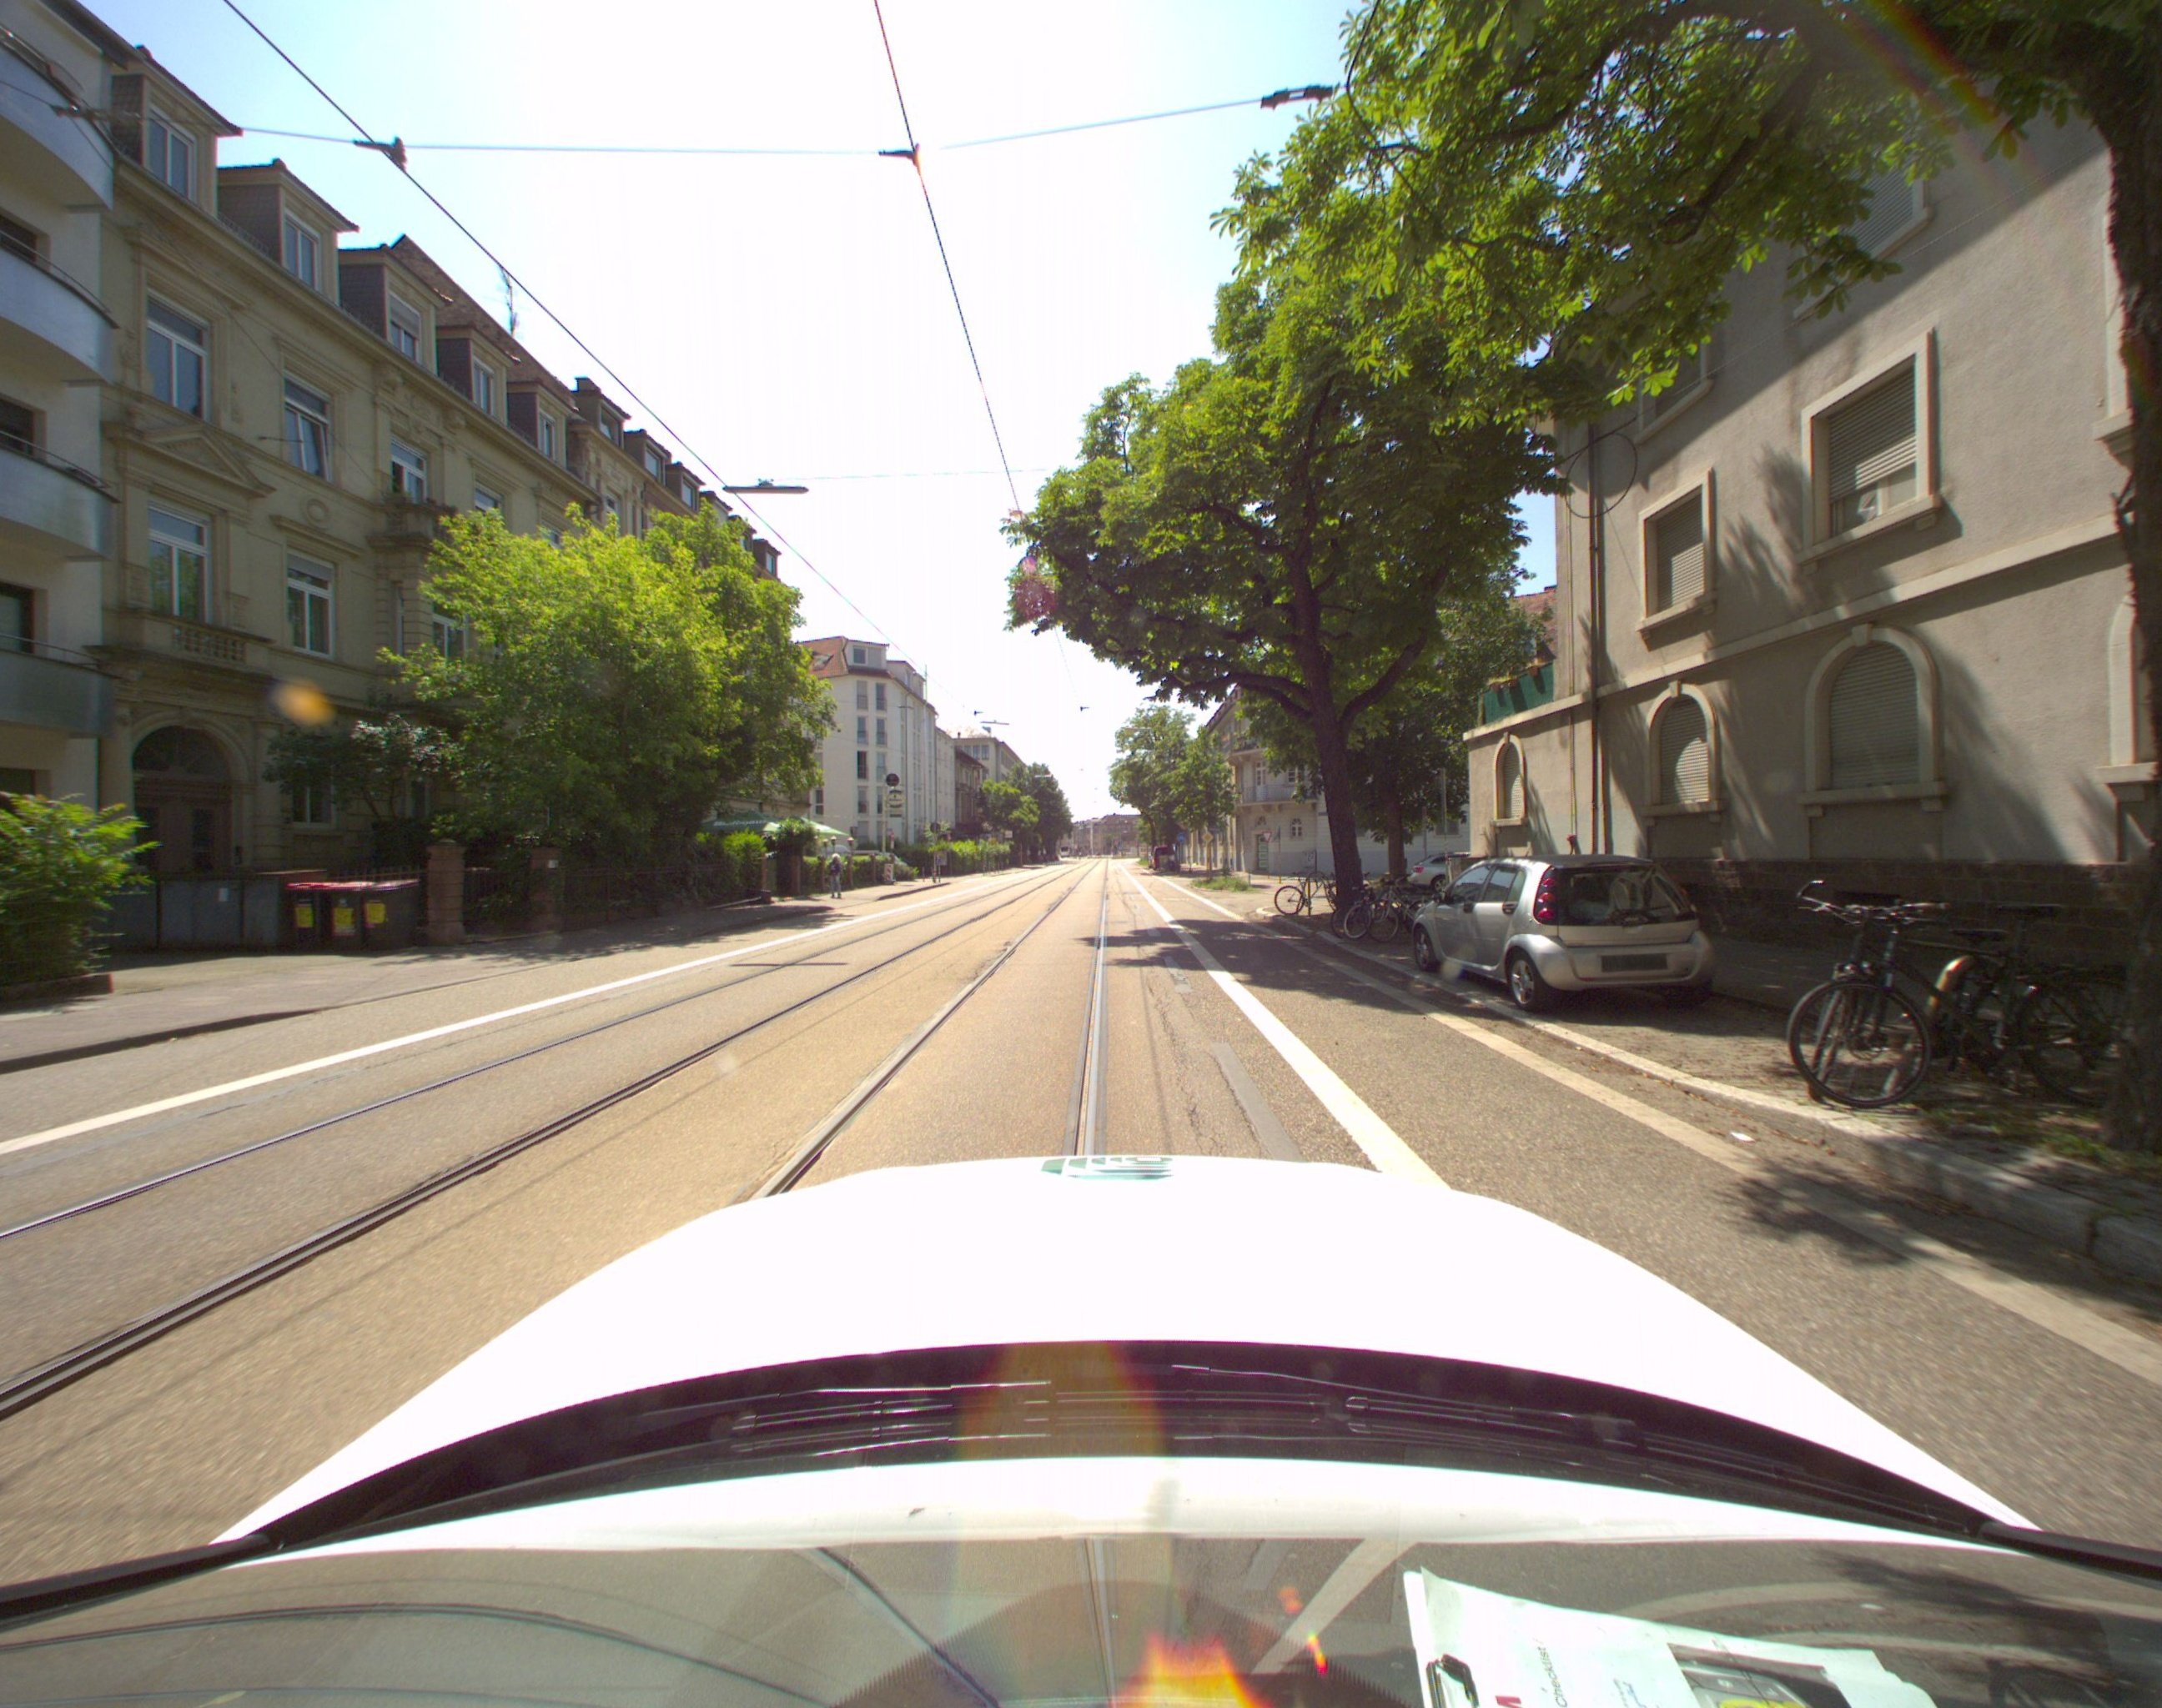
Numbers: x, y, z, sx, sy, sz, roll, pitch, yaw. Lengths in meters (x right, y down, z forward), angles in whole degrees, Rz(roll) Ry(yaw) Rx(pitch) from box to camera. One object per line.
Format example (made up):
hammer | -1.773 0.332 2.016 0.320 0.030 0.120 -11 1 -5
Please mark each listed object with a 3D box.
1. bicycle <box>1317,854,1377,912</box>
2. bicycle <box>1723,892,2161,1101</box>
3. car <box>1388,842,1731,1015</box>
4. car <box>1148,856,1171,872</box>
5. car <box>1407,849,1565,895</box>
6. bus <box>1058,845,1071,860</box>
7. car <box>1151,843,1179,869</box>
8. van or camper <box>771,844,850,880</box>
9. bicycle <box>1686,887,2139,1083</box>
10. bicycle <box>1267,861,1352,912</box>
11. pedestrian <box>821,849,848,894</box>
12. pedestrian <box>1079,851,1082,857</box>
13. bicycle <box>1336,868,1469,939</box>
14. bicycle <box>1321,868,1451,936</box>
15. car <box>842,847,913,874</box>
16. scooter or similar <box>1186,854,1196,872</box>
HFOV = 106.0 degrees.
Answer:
bicycle | 6.001 0.639 18.510 0.579 1.231 2.004 -1 -1 -3
bicycle | 4.803 0.751 4.554 1.879 1.052 0.539 -1 -1 8
car | 4.961 0.680 9.128 1.616 1.448 3.811 -3 -1 2
car | 7.231 0.897 75.398 1.778 1.473 3.773 0 0 1
car | 13.627 0.583 27.514 4.637 1.437 1.749 0 0 29
bus | -4.466 -0.347 226.291 2.920 3.937 11.278 1 -1 2
car | 7.006 0.143 67.927 1.986 2.035 4.699 -1 0 2
van or camper | -16.440 0.466 49.723 1.977 2.119 4.823 0 0 21
bicycle | 4.923 0.746 4.942 1.952 1.063 0.600 -1 -1 8
bicycle | 5.259 0.743 18.786 1.809 1.113 0.493 -1 -2 1
pedestrian | -9.089 0.638 30.060 0.748 1.629 0.833 0 0 1
pedestrian | -0.159 0.029 177.648 0.491 1.173 0.587 -1 0 -13
bicycle | 5.326 0.822 13.566 1.954 1.113 0.599 -1 -2 3
bicycle | 5.283 0.825 14.194 2.001 1.113 0.640 -1 -1 3
car | -14.386 0.454 57.598 4.445 1.904 2.009 0 0 18
scooter or similar | 7.506 0.610 55.535 0.499 1.230 1.574 0 0 2
